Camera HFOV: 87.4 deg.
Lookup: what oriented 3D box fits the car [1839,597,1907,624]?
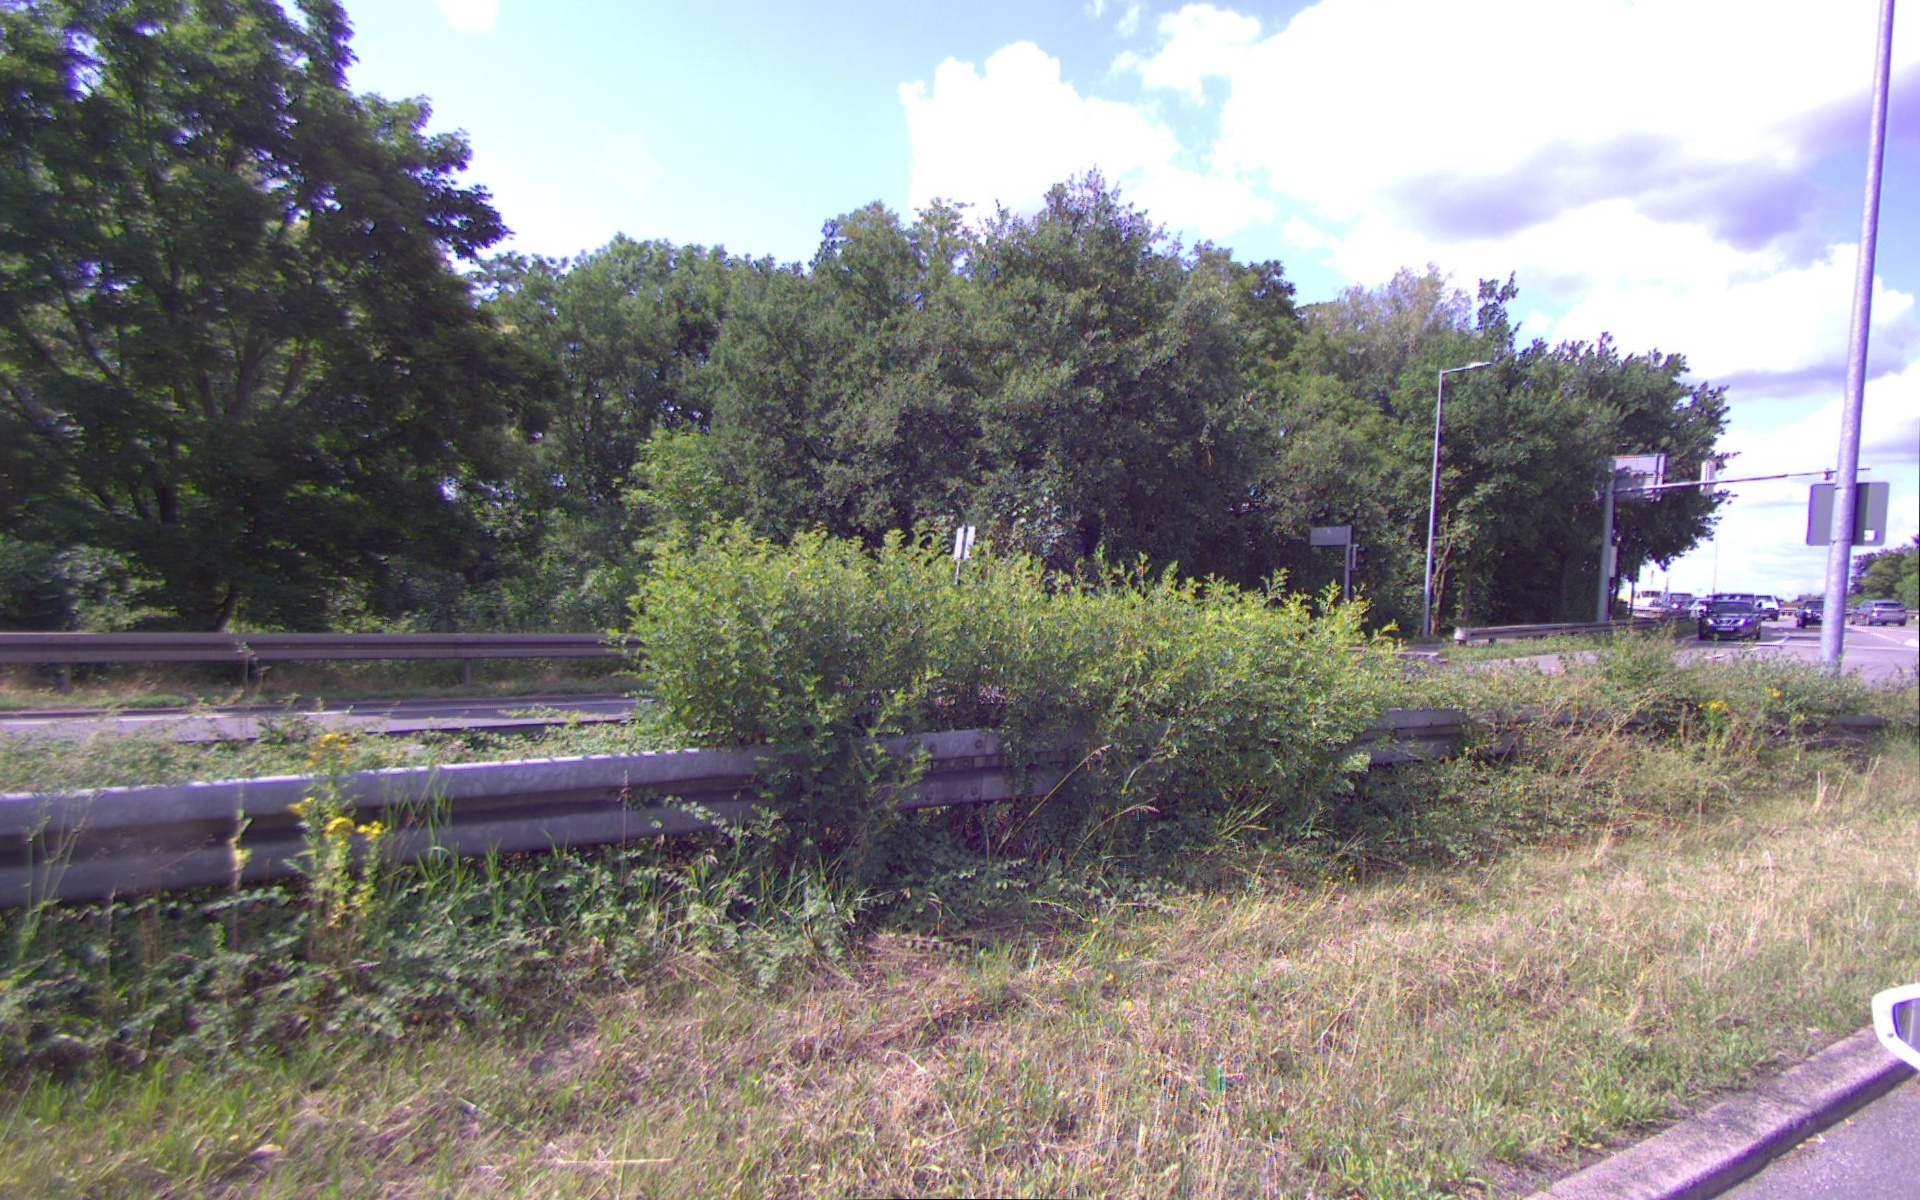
[{"bbox_3d":[56.076,0.634,61.777,1.962,1.516,4.115,2,1,26],"label":"car"}]

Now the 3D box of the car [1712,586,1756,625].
[{"bbox_3d":[44.860,0.338,58.265,1.819,2.128,4.311,2,1,36],"label":"car"}]

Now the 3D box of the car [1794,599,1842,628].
[{"bbox_3d":[47.670,0.717,55.864,1.709,1.516,4.031,2,1,37],"label":"car"}]

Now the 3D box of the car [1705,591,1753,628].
[{"bbox_3d":[39.954,0.488,52.131,1.820,1.826,4.307,2,1,39],"label":"car"}]

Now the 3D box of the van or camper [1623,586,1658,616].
[{"bbox_3d":[64.689,0.063,95.529,1.963,2.719,6.852,2,1,28],"label":"van or camper"}]

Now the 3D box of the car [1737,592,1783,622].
[{"bbox_3d":[57.280,0.484,71.999,1.965,2.041,4.459,2,1,31],"label":"car"}]

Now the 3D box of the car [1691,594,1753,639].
[{"bbox_3d":[30.697,0.687,40.416,1.816,1.639,3.982,2,0,39],"label":"car"}]

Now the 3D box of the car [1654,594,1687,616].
[{"bbox_3d":[58.029,0.404,82.083,1.817,1.728,4.316,2,1,32],"label":"car"}]
